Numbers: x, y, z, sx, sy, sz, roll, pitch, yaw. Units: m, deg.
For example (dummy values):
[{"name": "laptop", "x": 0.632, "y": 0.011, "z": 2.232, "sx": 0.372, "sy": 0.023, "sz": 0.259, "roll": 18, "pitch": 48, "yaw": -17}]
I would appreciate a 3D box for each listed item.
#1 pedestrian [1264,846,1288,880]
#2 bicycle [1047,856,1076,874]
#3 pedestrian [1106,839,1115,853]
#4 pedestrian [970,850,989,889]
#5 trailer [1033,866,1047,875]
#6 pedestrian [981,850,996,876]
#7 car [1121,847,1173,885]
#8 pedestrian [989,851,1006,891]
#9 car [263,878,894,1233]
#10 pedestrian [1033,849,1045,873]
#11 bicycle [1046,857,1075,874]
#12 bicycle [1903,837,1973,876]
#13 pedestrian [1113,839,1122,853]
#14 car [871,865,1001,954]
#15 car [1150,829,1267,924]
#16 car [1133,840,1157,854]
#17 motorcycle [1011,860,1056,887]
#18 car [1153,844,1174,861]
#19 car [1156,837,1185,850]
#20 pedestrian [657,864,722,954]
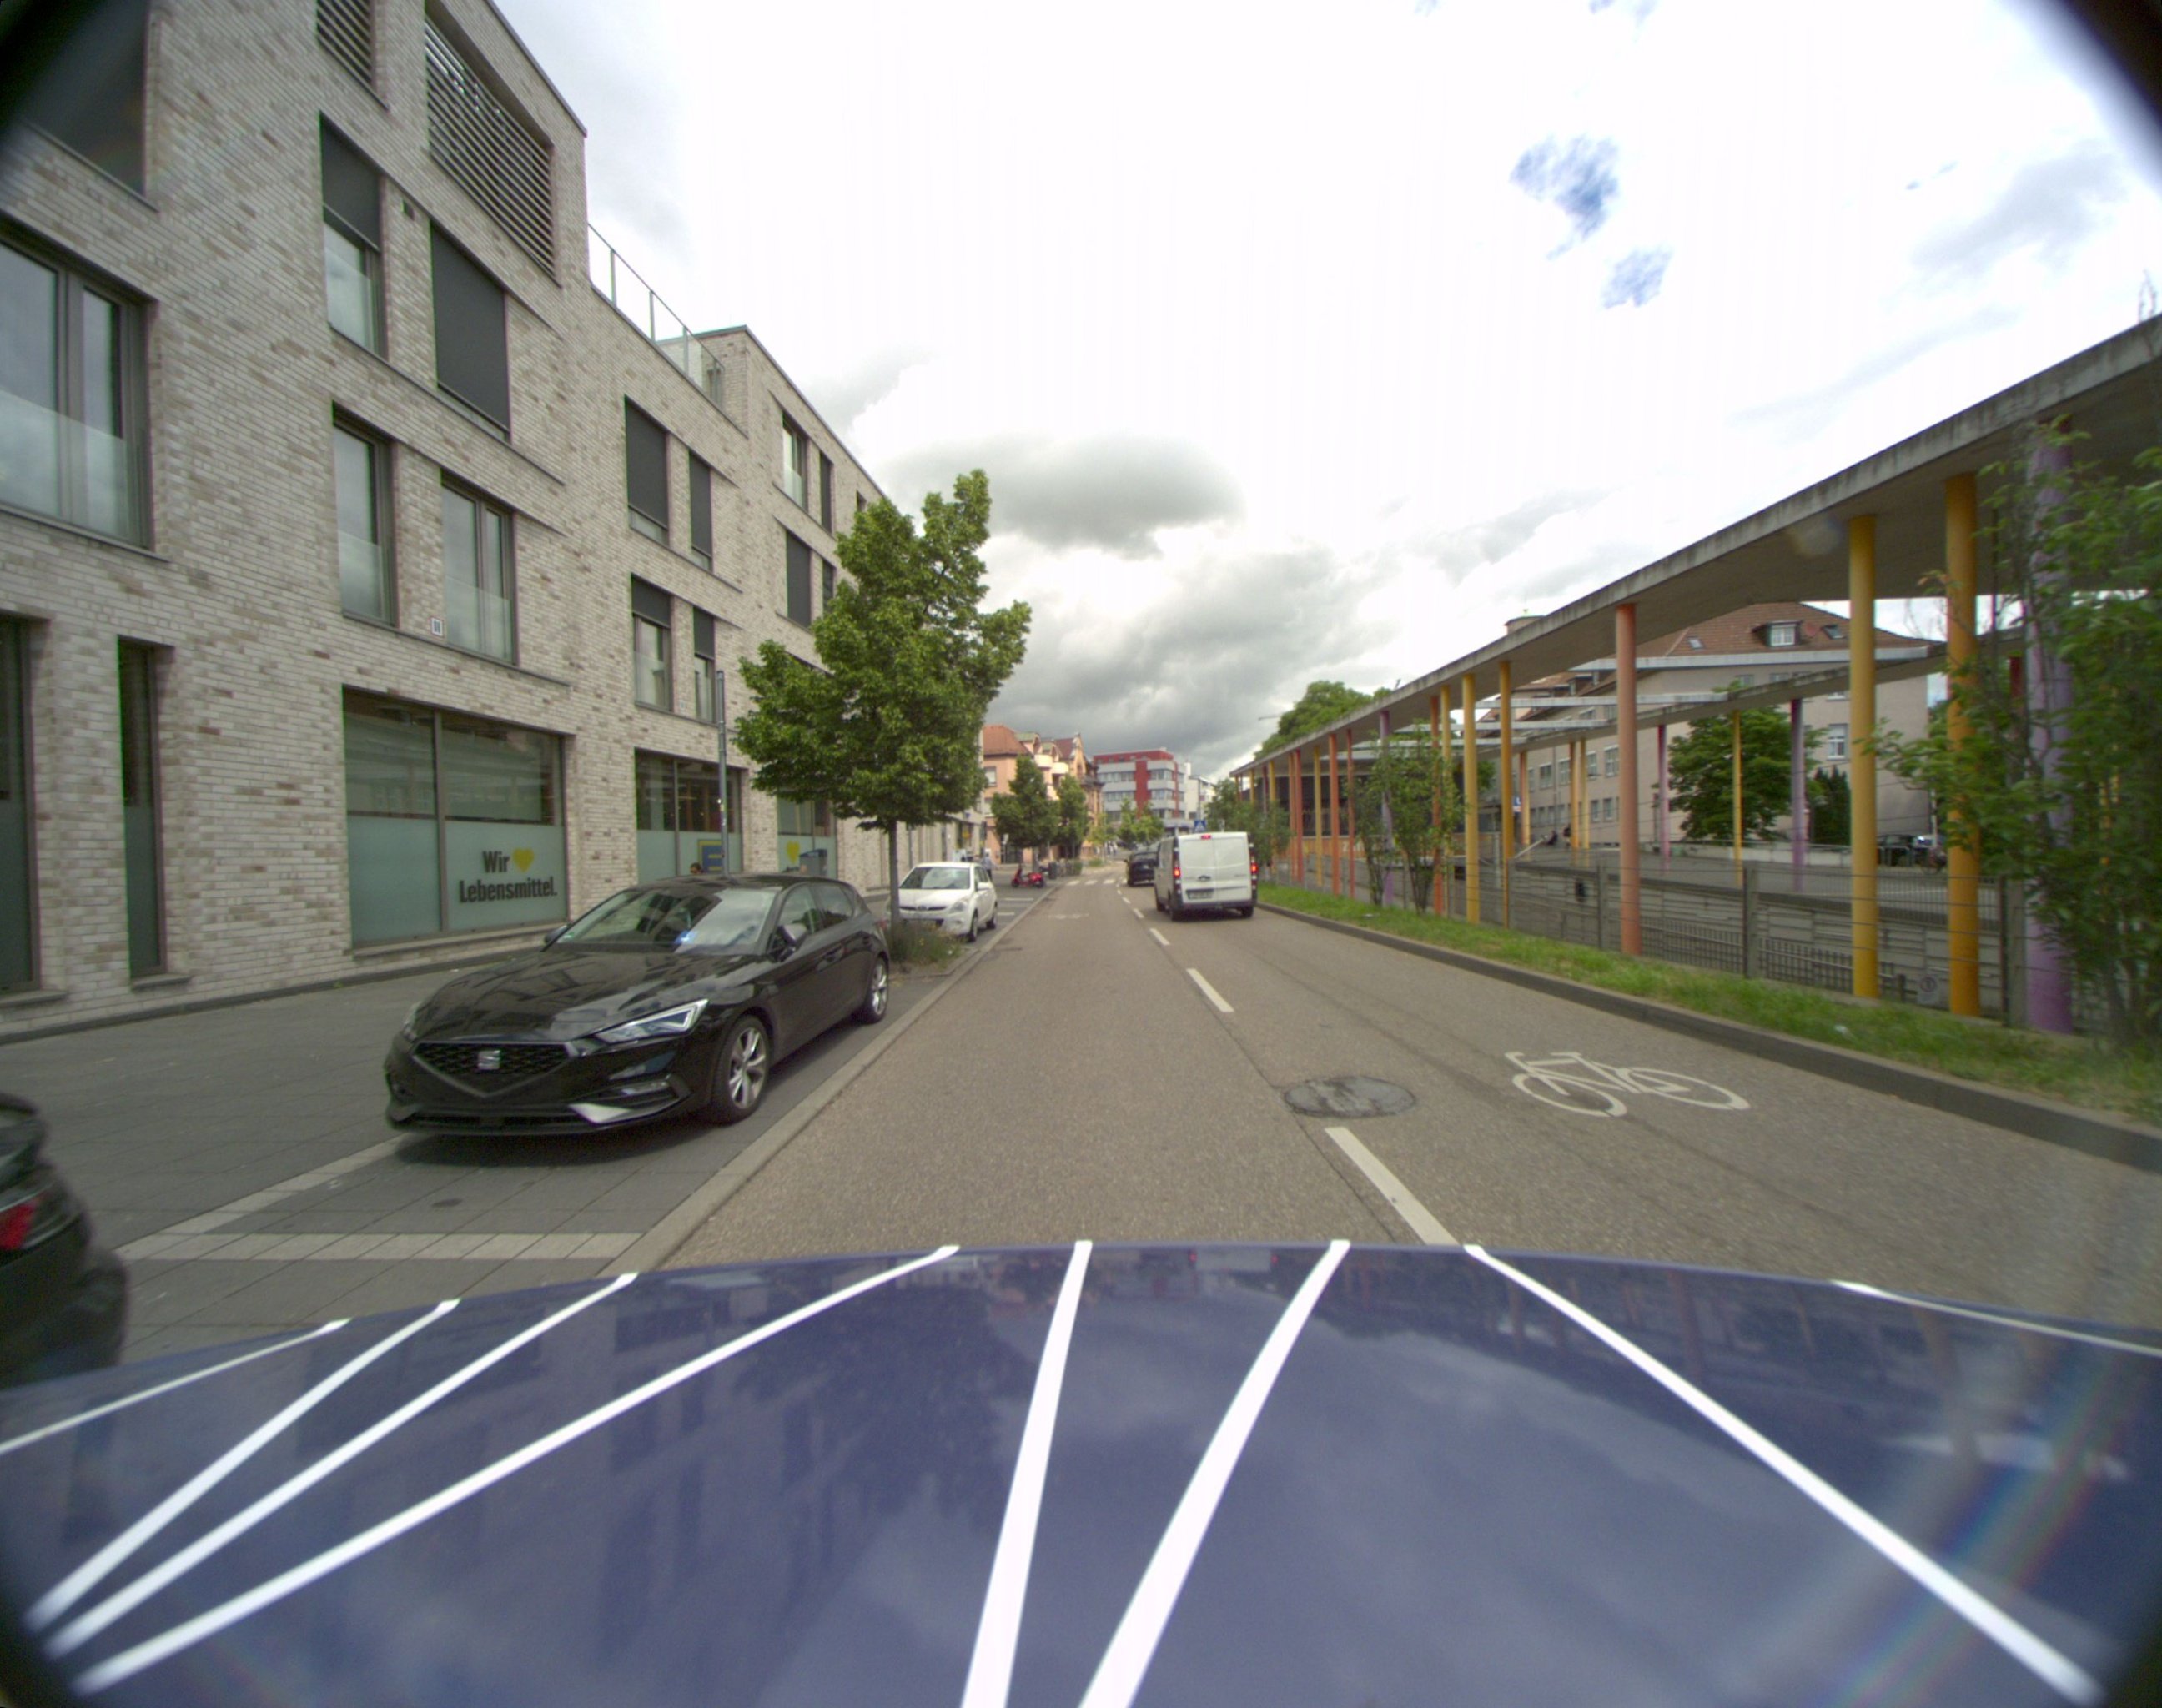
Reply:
[{"name": "pedestrian", "x": 9.457, "y": 0.441, "z": 36.893, "sx": 0.929, "sy": 1.556, "sz": 0.814, "roll": -3, "pitch": 3, "yaw": -1}, {"name": "bicycle", "x": -1.291, "y": 0.723, "z": 51.260, "sx": 1.826, "sy": 1.194, "sz": 0.756, "roll": 0, "pitch": 2, "yaw": 8}, {"name": "pedestrian", "x": 3.719, "y": -0.984, "z": 94.950, "sx": 0.738, "sy": 1.631, "sz": 0.677, "roll": -1, "pitch": 3, "yaw": 40}, {"name": "pedestrian", "x": -4.625, "y": 0.690, "z": 34.647, "sx": 0.757, "sy": 1.757, "sz": 0.734, "roll": -1, "pitch": 2, "yaw": -5}, {"name": "trailer", "x": -2.803, "y": 1.116, "z": 51.661, "sx": 0.721, "sy": 0.525, "sz": 0.812, "roll": -2, "pitch": 1, "yaw": 11}, {"name": "pedestrian", "x": -6.130, "y": 0.594, "z": 50.356, "sx": 0.658, "sy": 1.683, "sz": 0.633, "roll": 0, "pitch": 2, "yaw": 42}, {"name": "car", "x": 3.045, "y": 0.526, "z": 36.001, "sx": 1.924, "sy": 1.595, "sz": 4.626, "roll": -3, "pitch": 0, "yaw": -1}, {"name": "pedestrian", "x": -3.711, "y": 0.747, "z": 33.830, "sx": 0.623, "sy": 1.757, "sz": 0.737, "roll": -1, "pitch": 2, "yaw": 1}, {"name": "car", "x": -2.801, "y": 0.976, "z": 5.522, "sx": 1.696, "sy": 1.452, "sz": 4.147, "roll": 0, "pitch": 0, "yaw": 2}, {"name": "pedestrian", "x": -3.158, "y": 0.522, "z": 57.299, "sx": 0.659, "sy": 1.732, "sz": 1.018, "roll": -1, "pitch": 1, "yaw": 7}, {"name": "bicycle", "x": -1.340, "y": 0.759, "z": 50.429, "sx": 1.826, "sy": 1.125, "sz": 0.756, "roll": 0, "pitch": 2, "yaw": 8}, {"name": "bicycle", "x": 29.688, "y": 0.062, "z": 26.360, "sx": 0.532, "sy": 1.262, "sz": 2.061, "roll": -2, "pitch": 2, "yaw": 14}, {"name": "pedestrian", "x": 4.544, "y": -1.012, "z": 94.649, "sx": 0.696, "sy": 1.649, "sz": 0.741, "roll": -2, "pitch": 3, "yaw": 26}, {"name": "car", "x": -2.733, "y": 0.994, "z": 15.156, "sx": 1.696, "sy": 1.475, "sz": 3.798, "roll": 0, "pitch": 0, "yaw": 3}, {"name": "car", "x": 2.914, "y": 0.459, "z": 18.491, "sx": 2.009, "sy": 1.906, "sz": 5.064, "roll": -3, "pitch": 0, "yaw": 1}, {"name": "car", "x": 7.646, "y": -0.849, "z": 90.239, "sx": 1.996, "sy": 1.406, "sz": 4.740, "roll": -1, "pitch": 2, "yaw": 15}, {"name": "motorcycle", "x": -2.300, "y": 0.923, "z": 36.472, "sx": 2.052, "sy": 1.259, "sz": 0.673, "roll": 1, "pitch": 2, "yaw": 19}, {"name": "car", "x": 8.838, "y": -0.168, "z": 81.417, "sx": 1.802, "sy": 1.571, "sz": 4.002, "roll": -2, "pitch": 2, "yaw": 11}, {"name": "car", "x": 13.216, "y": -1.550, "z": 111.690, "sx": 4.006, "sy": 1.653, "sz": 1.839, "roll": -4, "pitch": 3, "yaw": -37}, {"name": "pedestrian", "x": -6.585, "y": 0.903, "z": 12.800, "sx": 0.608, "sy": 1.464, "sz": 0.791, "roll": 0, "pitch": 1, "yaw": 9}]
